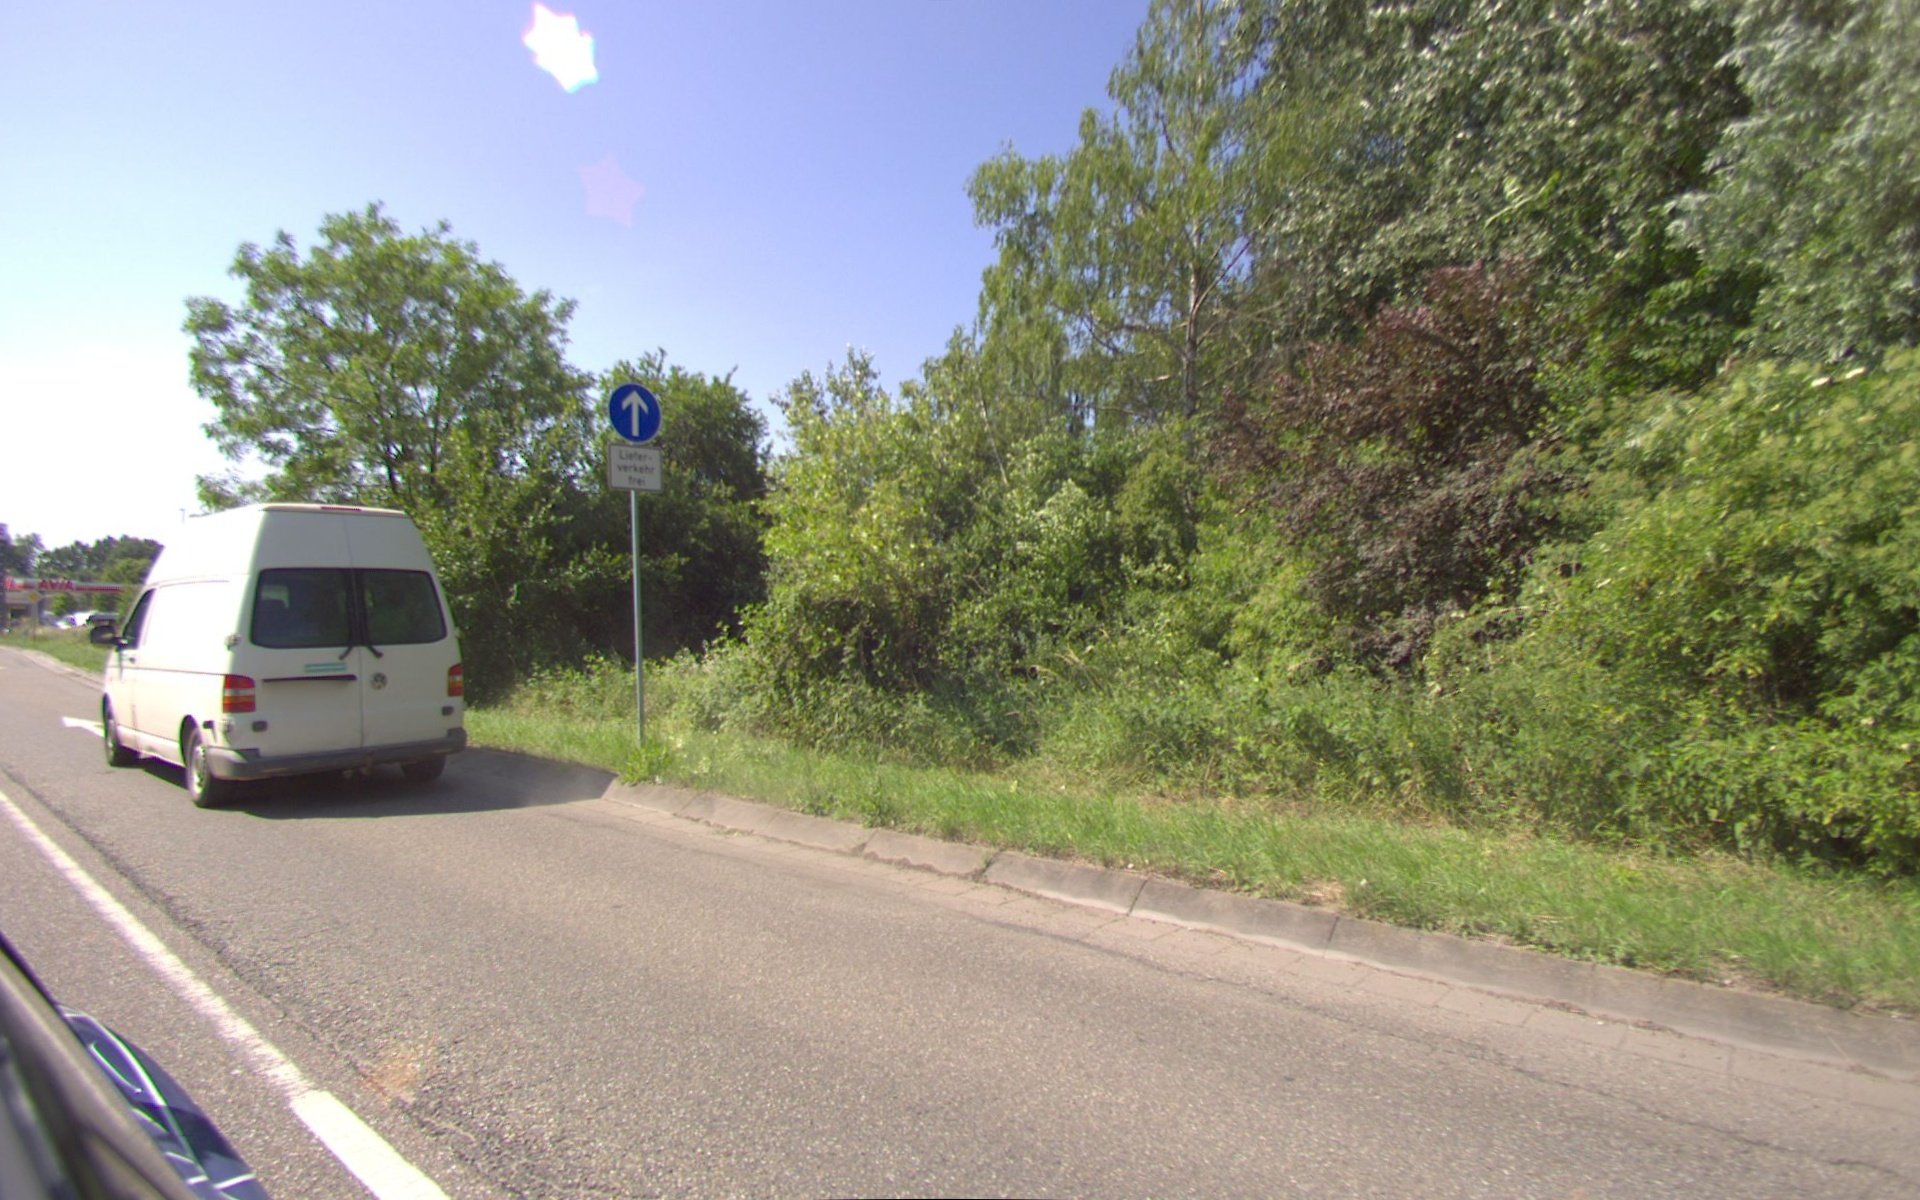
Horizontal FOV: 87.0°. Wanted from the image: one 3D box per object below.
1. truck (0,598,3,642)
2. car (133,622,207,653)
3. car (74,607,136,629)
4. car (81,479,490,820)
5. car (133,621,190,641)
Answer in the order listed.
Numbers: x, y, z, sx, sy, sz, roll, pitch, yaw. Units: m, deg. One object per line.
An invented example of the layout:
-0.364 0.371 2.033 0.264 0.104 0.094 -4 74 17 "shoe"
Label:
-79.742 1.436 76.524 3.880 3.420 10.205 -1 -3 39 "truck"
-58.509 2.788 75.012 1.997 2.184 3.948 -1 -3 38 "car"
-80.599 1.719 95.488 1.985 1.962 3.974 0 -2 20 "car"
-6.502 0.405 9.506 4.906 2.418 1.892 -1 -2 40 "car"
-79.162 3.091 100.401 1.985 1.962 3.974 0 -2 20 "car"
